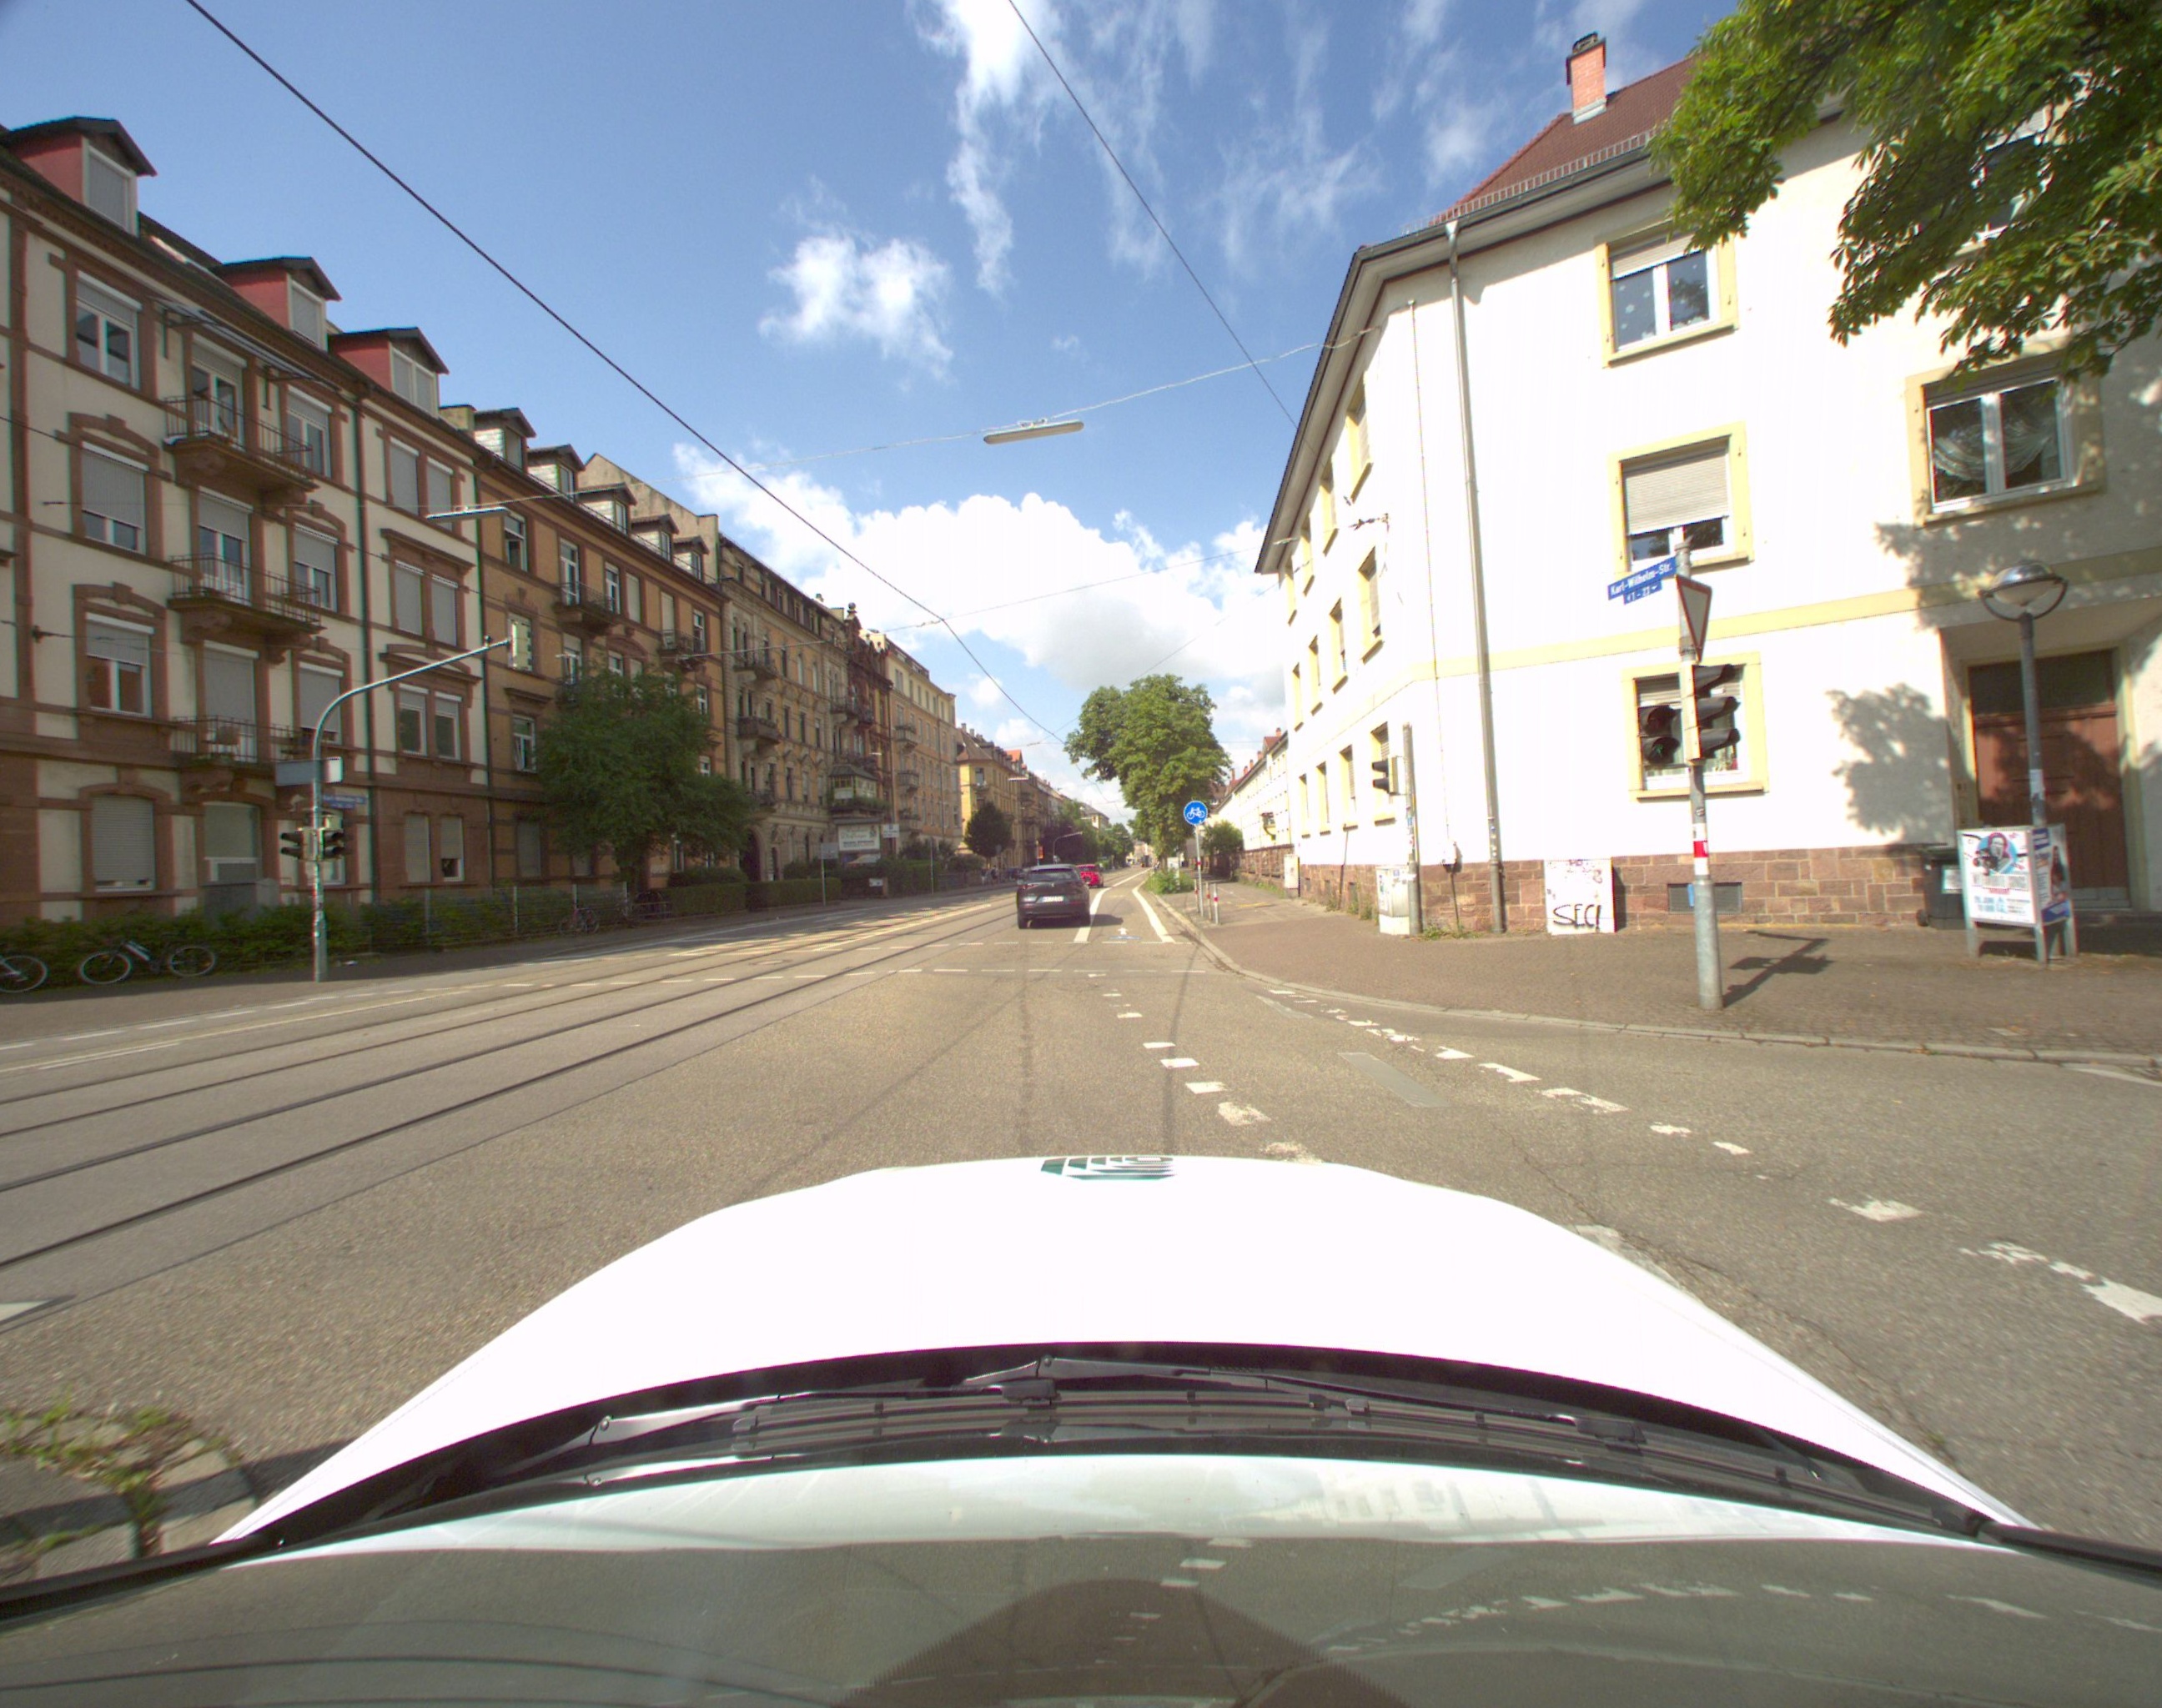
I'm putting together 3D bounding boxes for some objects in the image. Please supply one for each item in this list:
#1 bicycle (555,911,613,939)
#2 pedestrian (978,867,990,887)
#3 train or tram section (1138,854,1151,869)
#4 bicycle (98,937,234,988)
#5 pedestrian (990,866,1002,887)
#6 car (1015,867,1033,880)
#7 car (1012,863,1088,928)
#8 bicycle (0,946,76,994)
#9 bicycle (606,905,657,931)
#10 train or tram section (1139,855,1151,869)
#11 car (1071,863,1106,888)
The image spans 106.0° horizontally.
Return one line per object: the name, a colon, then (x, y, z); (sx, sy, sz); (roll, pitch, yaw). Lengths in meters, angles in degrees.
bicycle: (-14.570, 2.065, 23.914); (0.382, 0.653, 1.716); (-3, -1, 10)
pedestrian: (-8.222, 1.931, 69.305); (0.783, 1.688, 0.733); (-3, -1, 7)
train or tram section: (17.858, 2.200, 228.425); (2.982, 3.984, 13.830); (-3, -2, 6)
bicycle: (-17.720, 2.084, 15.818); (0.381, 0.747, 1.722); (-4, -1, 42)
pedestrian: (-7.143, 1.900, 68.302); (0.783, 1.688, 0.733); (-3, -1, 7)
car: (-7.367, 2.474, 105.005); (1.649, 1.596, 3.935); (-3, -1, 5)
car: (-0.785, 1.011, 21.219); (1.777, 1.514, 3.997); (-1, -1, -2)
bicycle: (-19.048, 2.080, 14.300); (0.381, 0.747, 1.722); (-4, -1, 42)
bicycle: (-14.393, 2.045, 26.119); (0.382, 0.677, 1.716); (-3, -1, 10)
train or tram section: (19.212, 2.489, 242.194); (2.982, 3.984, 13.830); (-3, -2, 6)
car: (0.501, 1.305, 50.258); (1.767, 1.464, 3.847); (-1, -1, 5)
